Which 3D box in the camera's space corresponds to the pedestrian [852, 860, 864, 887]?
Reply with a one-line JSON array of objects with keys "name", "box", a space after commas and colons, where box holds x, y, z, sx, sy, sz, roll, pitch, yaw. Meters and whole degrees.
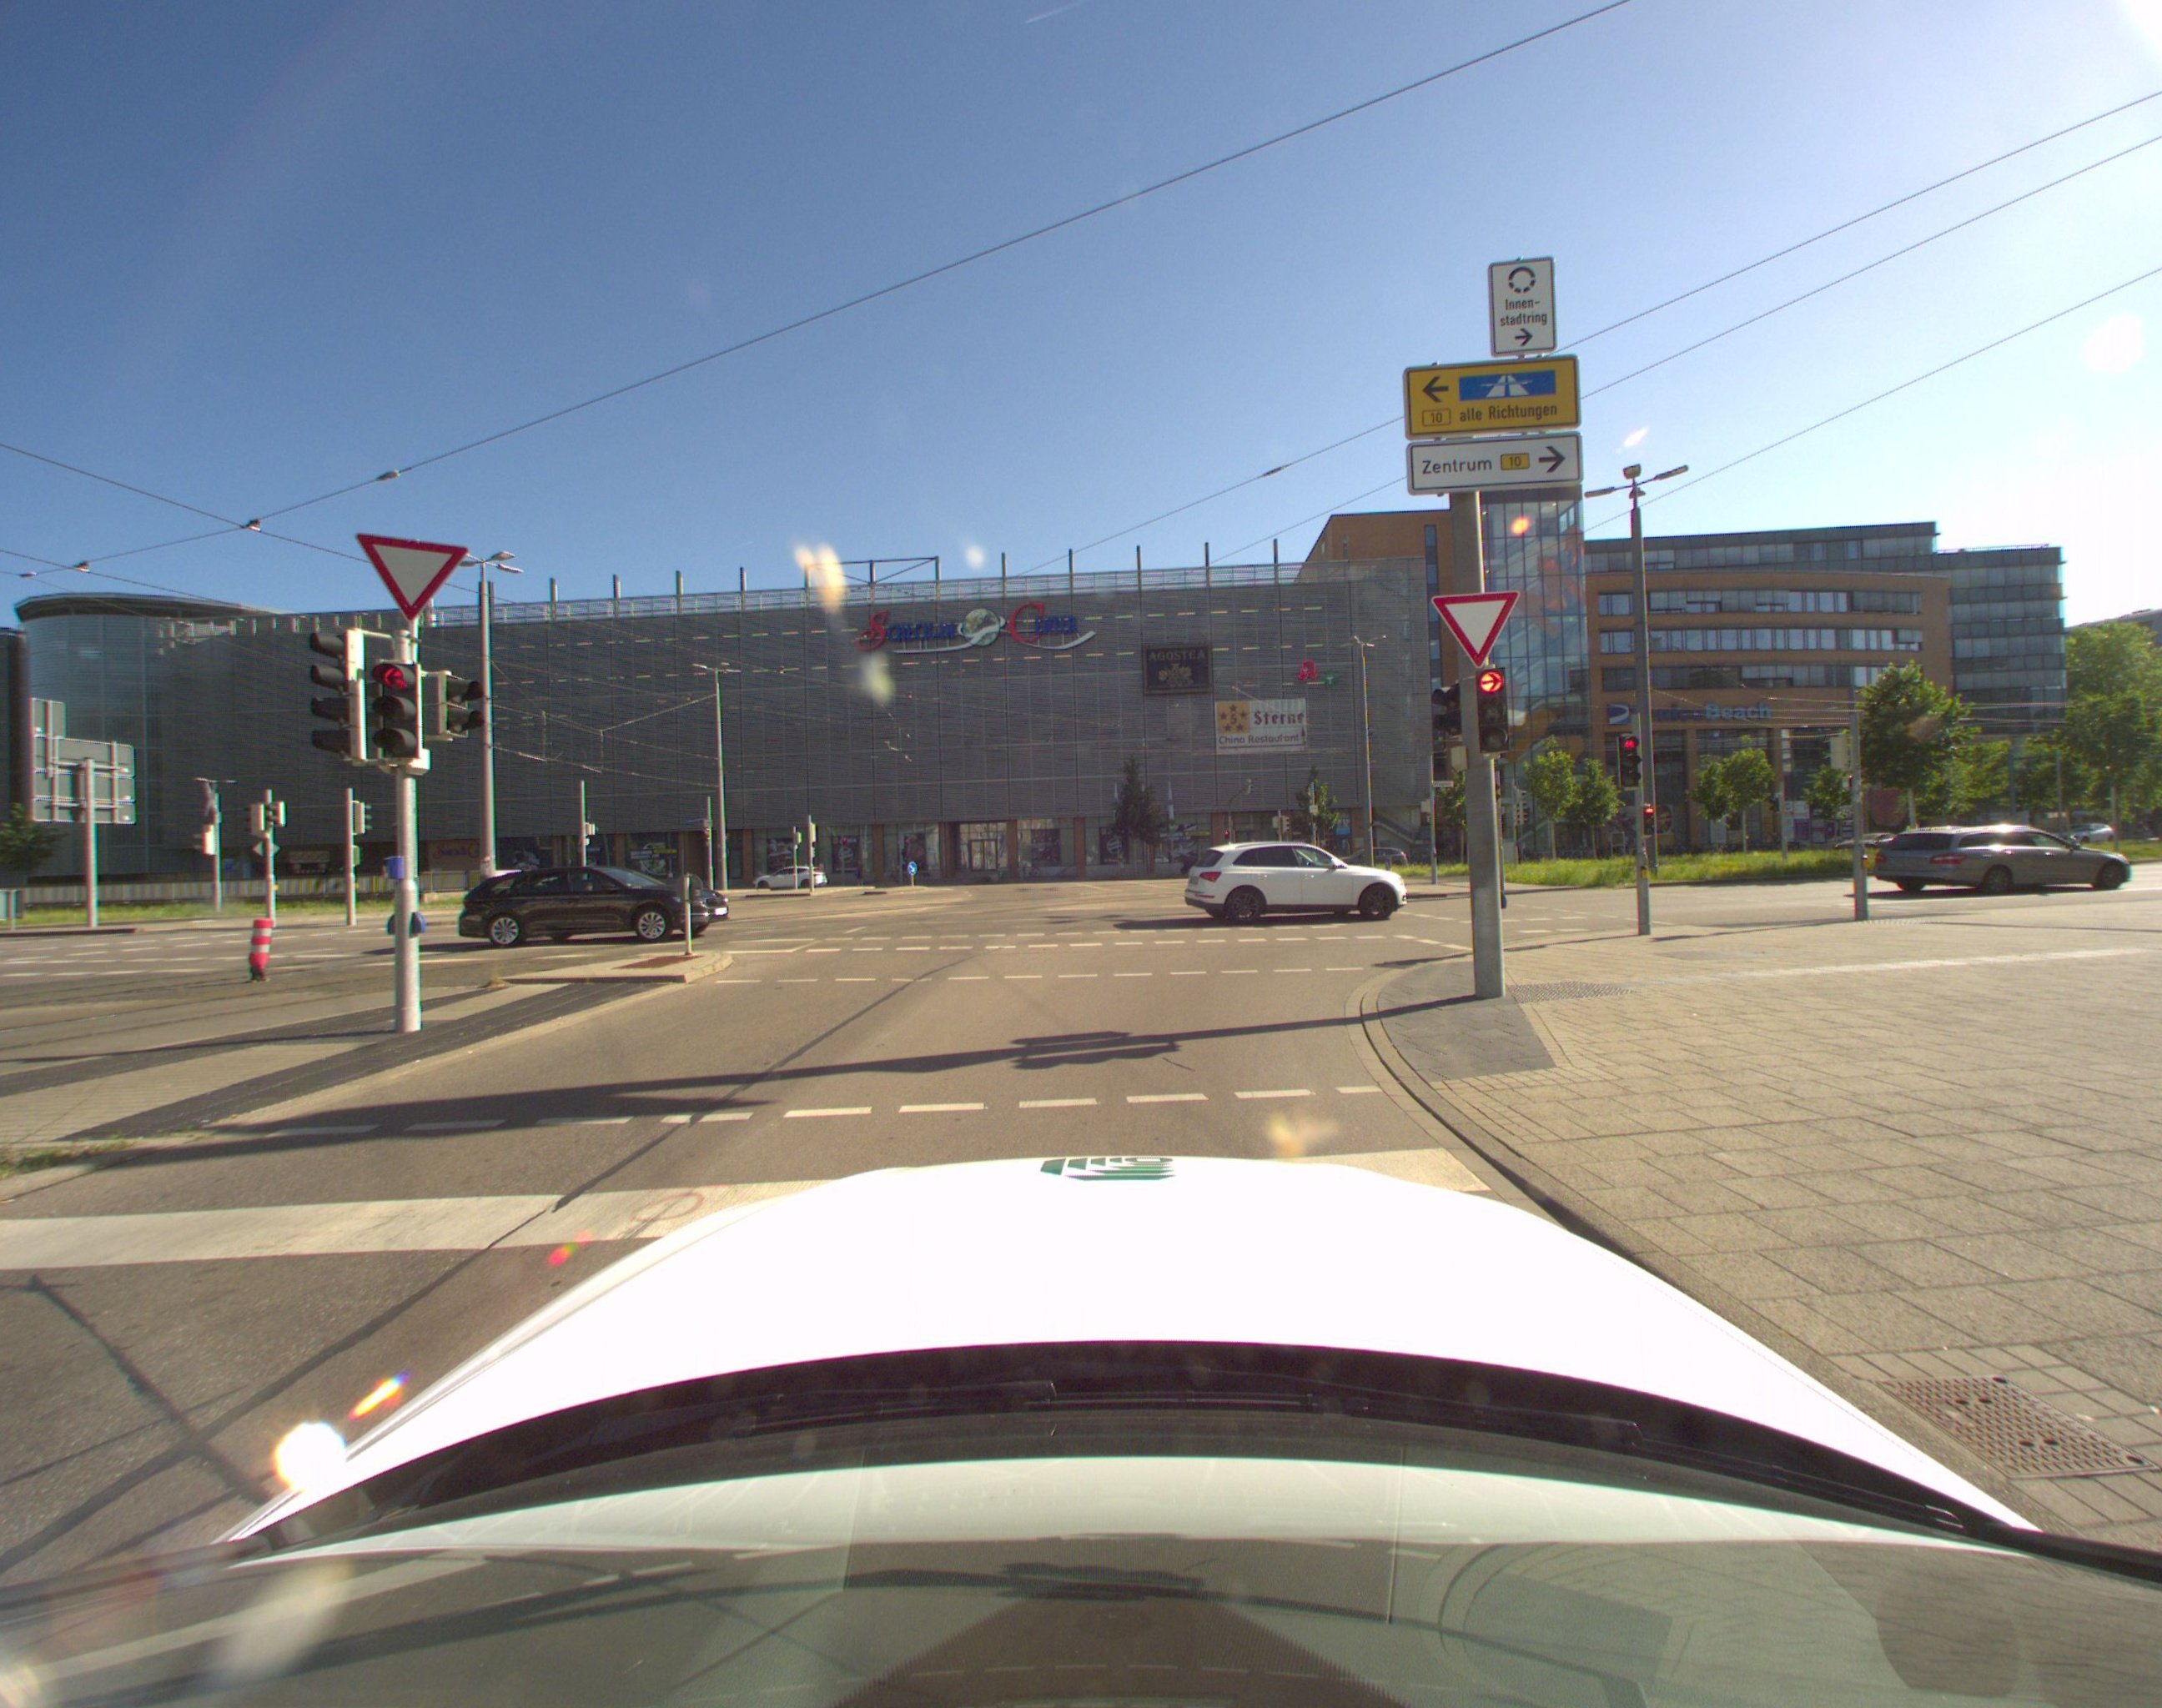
[{"name": "pedestrian", "box": [-15.202, 1.308, 55.468, 0.695, 1.797, 0.727, -3, 0, -14]}]

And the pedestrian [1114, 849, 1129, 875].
[{"name": "pedestrian", "box": [2.951, 0.611, 59.864, 0.945, 1.829, 0.847, -3, -4, 7]}]

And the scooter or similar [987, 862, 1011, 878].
[{"name": "scooter or similar", "box": [-6.183, 1.202, 61.237, 1.790, 1.066, 0.611, -2, 1, -6]}]

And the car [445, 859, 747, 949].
[{"name": "car", "box": [-9.179, 0.908, 15.697, 4.653, 1.462, 1.833, -2, 0, 0]}]

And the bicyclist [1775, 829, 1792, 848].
[{"name": "bicyclist", "box": [53.462, -1.196, 61.959, 0.750, 1.386, 0.566, -2, 1, 1]}]

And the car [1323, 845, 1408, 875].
[{"name": "car", "box": [15.883, 0.348, 45.625, 4.132, 1.470, 1.841, 2, -1, 0]}]

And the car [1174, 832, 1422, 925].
[{"name": "car", "box": [4.467, 0.465, 17.147, 4.664, 1.707, 1.932, -2, 0, -7]}]

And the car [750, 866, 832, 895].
[{"name": "car", "box": [-17.681, 1.601, 49.806, 4.274, 1.645, 1.841, 2, -1, 1]}]

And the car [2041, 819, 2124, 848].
[{"name": "car", "box": [68.535, -1.370, 55.745, 4.331, 1.863, 1.832, -1, -1, -14]}]

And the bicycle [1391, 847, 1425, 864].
[{"name": "bicycle", "box": [24.344, 0.111, 60.623, 2.247, 1.296, 0.606, 0, -1, 0]}]

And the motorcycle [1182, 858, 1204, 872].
[{"name": "motorcycle", "box": [8.313, 0.829, 60.601, 1.630, 1.004, 0.448, 0, 0, 8]}]

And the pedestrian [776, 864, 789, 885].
[{"name": "pedestrian", "box": [-23.008, 1.566, 62.754, 0.654, 1.601, 0.597, -1, -1, 20]}]

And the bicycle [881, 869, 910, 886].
[{"name": "bicycle", "box": [-12.585, 1.583, 55.316, 0.562, 1.086, 1.874, -1, 2, 45]}]

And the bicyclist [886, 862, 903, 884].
[{"name": "bicyclist", "box": [-12.628, 1.272, 55.243, 0.667, 1.427, 0.855, -1, 2, 45]}]

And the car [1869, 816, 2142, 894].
[{"name": "car", "box": [21.214, 0.007, 18.767, 4.851, 1.572, 1.703, -2, 0, -7]}]

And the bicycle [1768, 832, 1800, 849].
[{"name": "bicycle", "box": [53.479, -1.000, 61.953, 1.850, 1.217, 0.569, -2, 1, 1]}]

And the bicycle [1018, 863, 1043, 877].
[{"name": "bicycle", "box": [-3.781, 1.172, 60.796, 1.815, 0.989, 0.556, -2, 1, -8]}]
